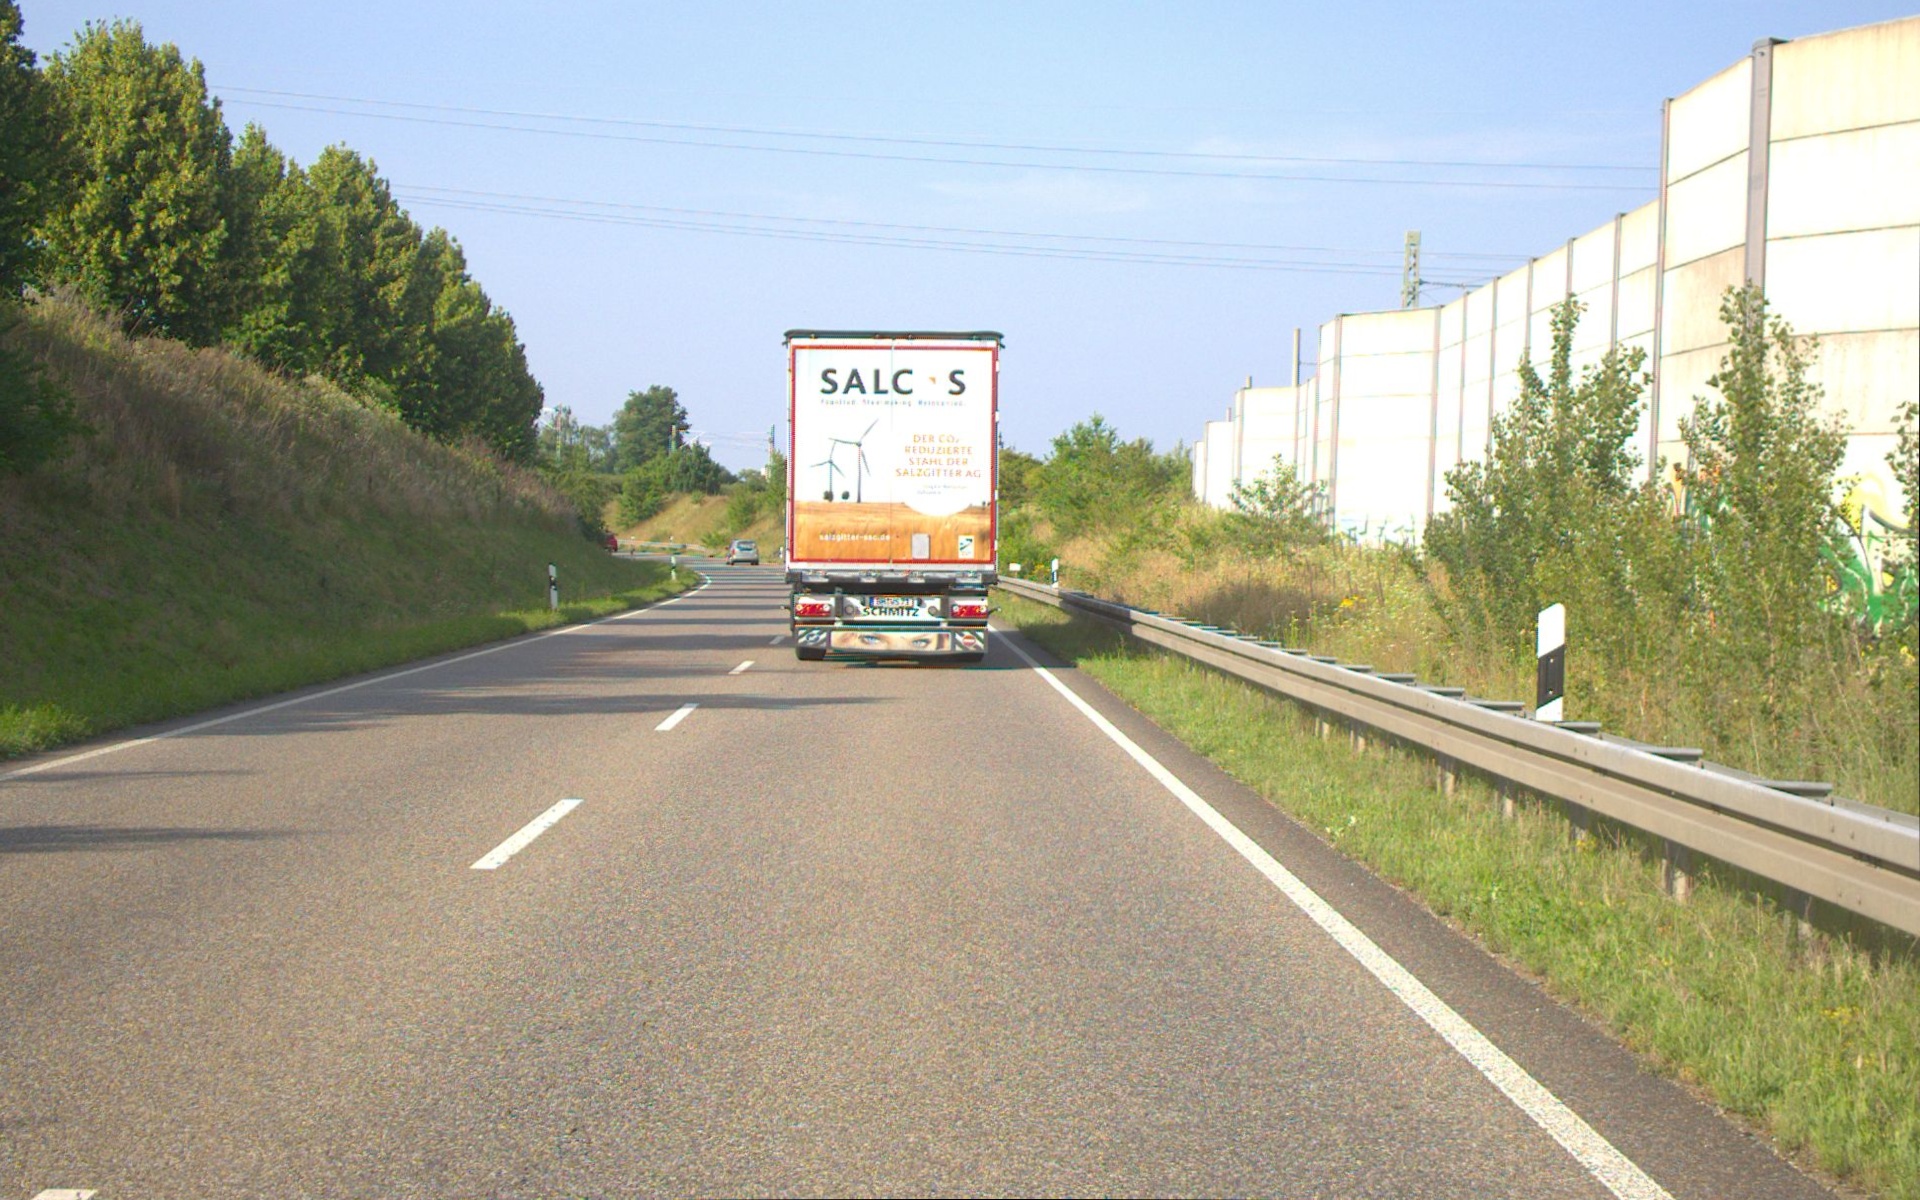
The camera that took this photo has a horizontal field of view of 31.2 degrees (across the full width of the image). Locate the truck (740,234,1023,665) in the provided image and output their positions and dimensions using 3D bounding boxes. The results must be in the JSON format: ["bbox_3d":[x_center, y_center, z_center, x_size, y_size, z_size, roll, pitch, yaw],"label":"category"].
[{"bbox_3d":[-1.204,-1.946,46.906,3.290,5.072,12.039,1,1,-3],"label":"truck"}]

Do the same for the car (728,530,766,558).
[{"bbox_3d":[-12.721,-3.353,205.744,2.046,1.576,4.360,1,1,-1],"label":"car"}]
